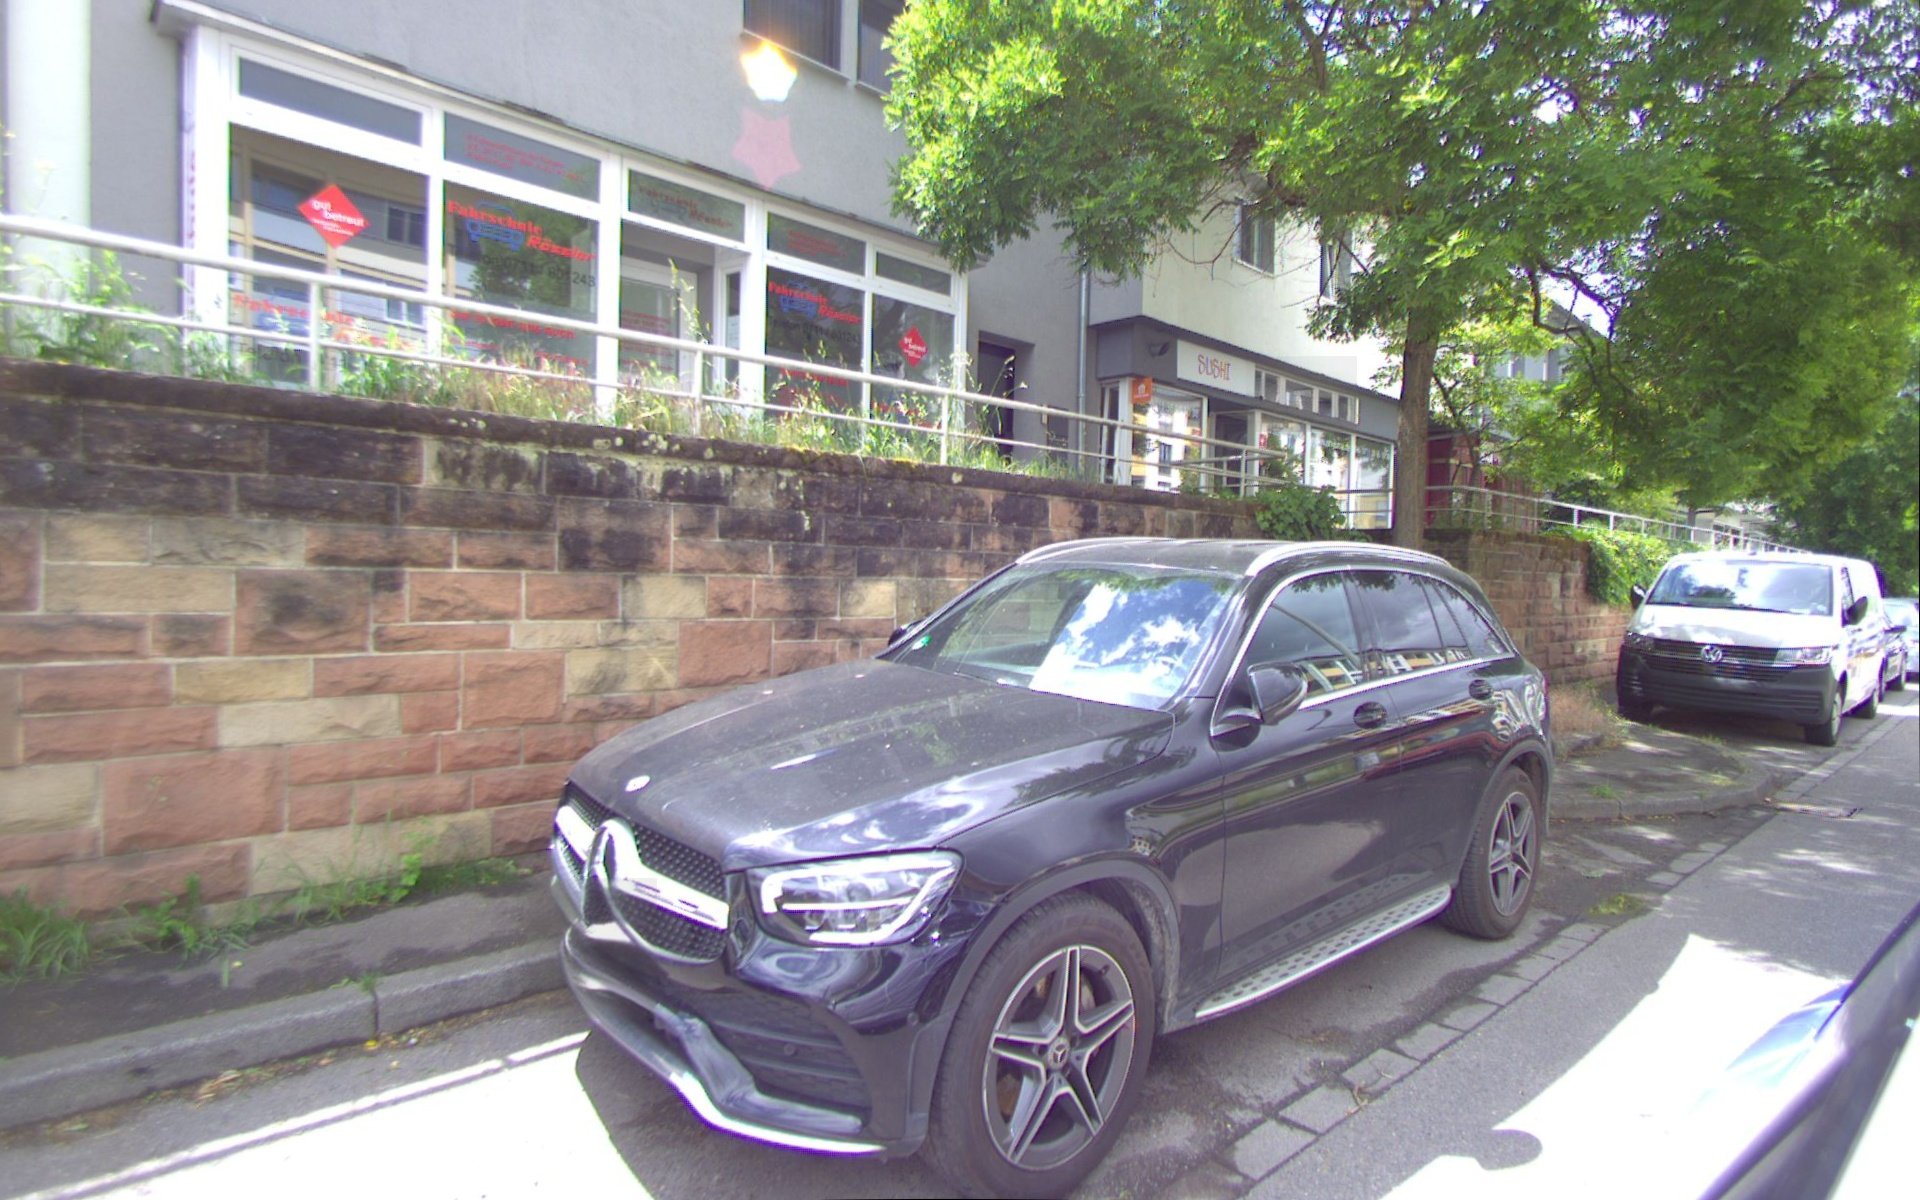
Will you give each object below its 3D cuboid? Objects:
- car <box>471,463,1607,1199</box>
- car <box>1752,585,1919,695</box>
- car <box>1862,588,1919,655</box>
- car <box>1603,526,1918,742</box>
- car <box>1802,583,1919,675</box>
[{"bbox_3d":[0.725,0.509,3.891,4.371,1.637,1.793,0,4,-42],"label":"car"},{"bbox_3d":[13.504,0.521,15.430,3.670,1.446,1.577,0,2,-41],"label":"car"},{"bbox_3d":[22.475,0.468,23.497,4.075,1.446,1.783,0,2,-41],"label":"car"},{"bbox_3d":[9.402,0.276,11.713,4.926,1.994,1.977,0,2,-41],"label":"car"},{"bbox_3d":[17.269,0.472,18.960,4.076,1.445,1.783,-1,4,-44],"label":"car"}]
